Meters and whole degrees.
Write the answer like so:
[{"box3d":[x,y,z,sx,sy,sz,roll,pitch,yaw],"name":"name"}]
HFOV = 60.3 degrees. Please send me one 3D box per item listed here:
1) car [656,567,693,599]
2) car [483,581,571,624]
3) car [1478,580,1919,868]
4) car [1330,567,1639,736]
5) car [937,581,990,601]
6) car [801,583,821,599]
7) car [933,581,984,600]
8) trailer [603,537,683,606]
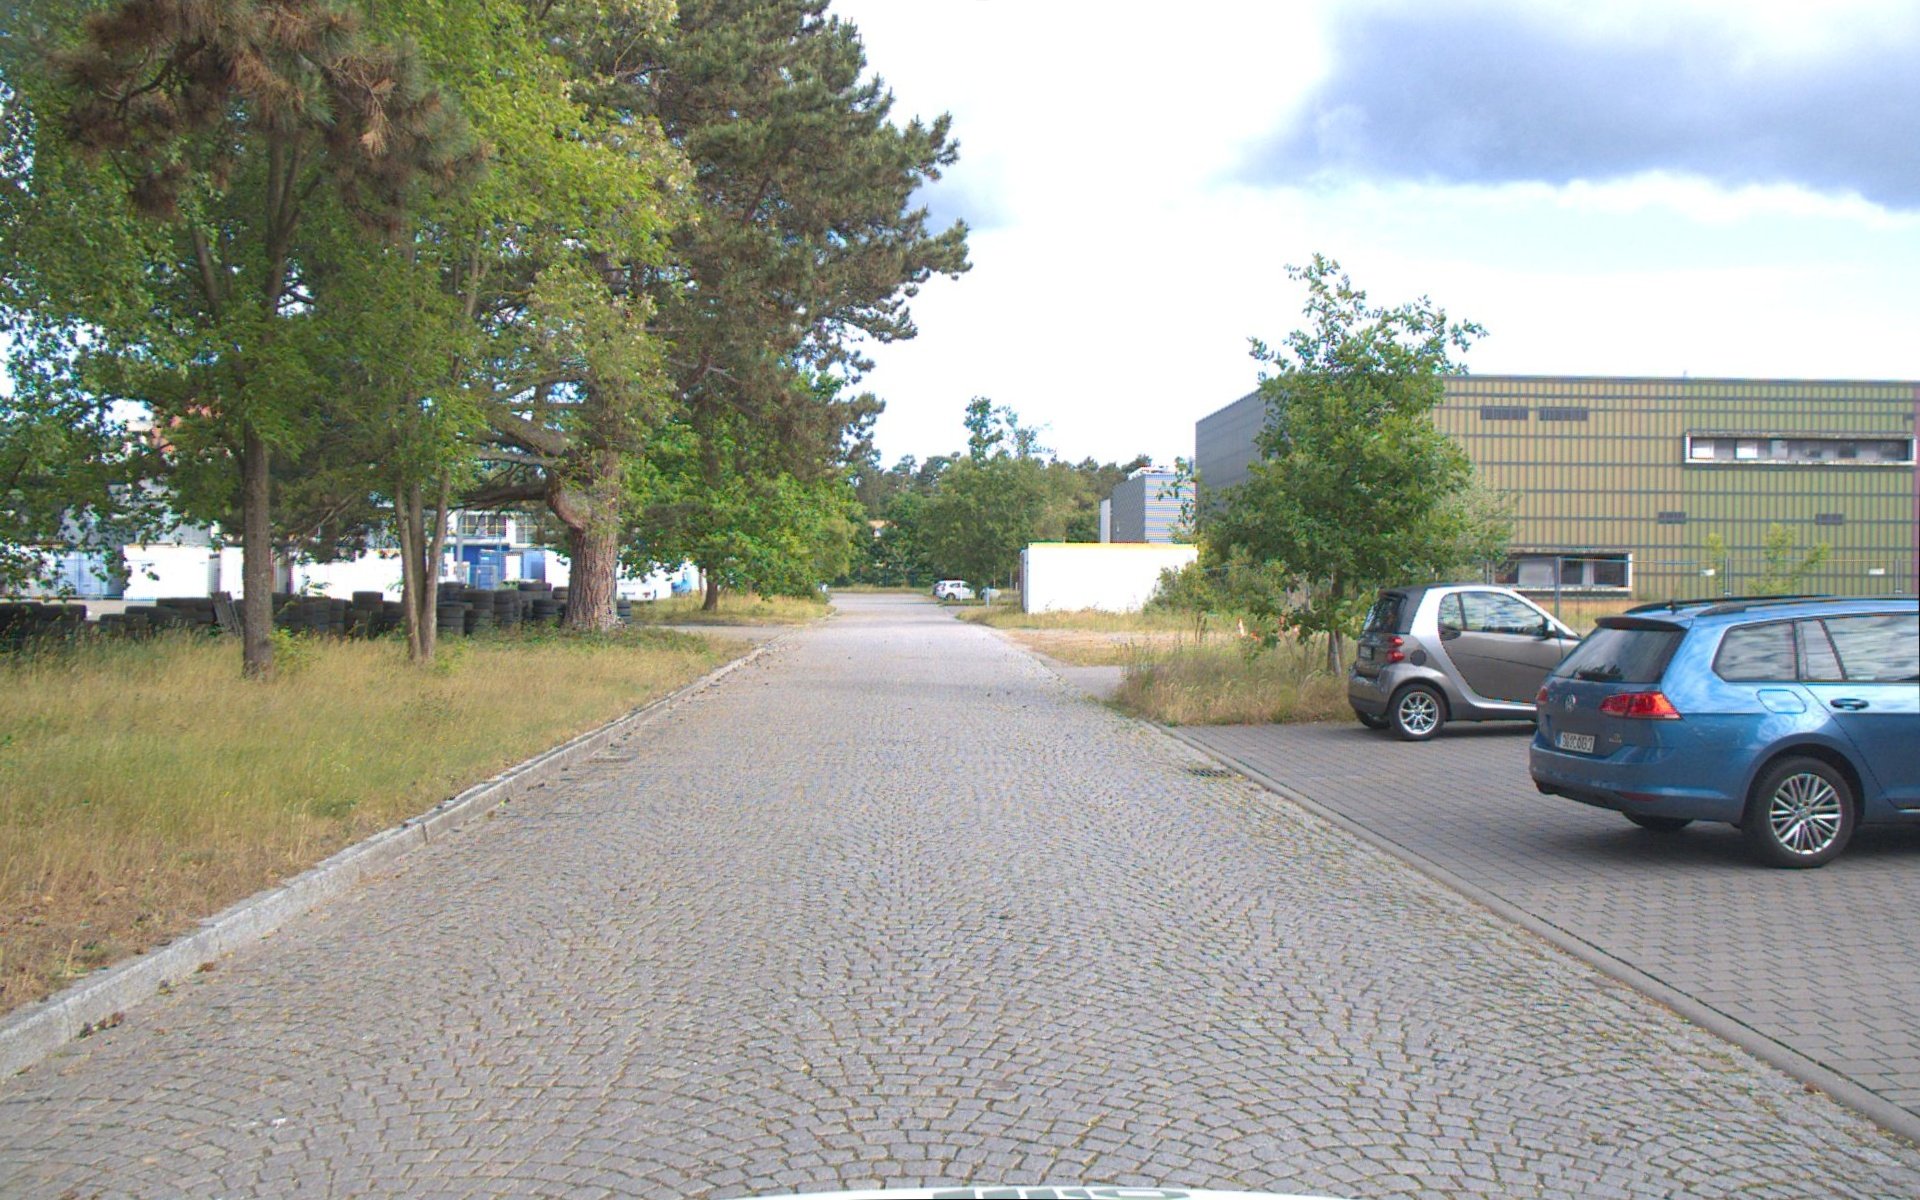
[{"box3d":[-23.442,-1.431,135.902,1.952,2.567,5.618,0,0,1],"name":"car"},{"box3d":[-15.199,0.050,58.302,1.785,1.456,4.221,0,1,3],"name":"car"},{"box3d":[5.761,0.647,10.269,4.436,1.475,1.930,-2,1,-5],"name":"car"},{"box3d":[5.495,0.507,17.549,2.686,1.609,1.682,-2,1,-3],"name":"car"},{"box3d":[0.266,-0.665,124.709,3.907,1.481,1.999,1,0,-3],"name":"car"},{"box3d":[-13.298,-0.846,147.928,1.715,1.387,3.996,0,1,-5],"name":"car"},{"box3d":[-0.122,-0.731,126.859,3.907,1.481,1.696,0,0,-3],"name":"car"},{"box3d":[-18.337,-1.615,96.285,2.602,3.770,10.721,0,1,0],"name":"trailer"}]
